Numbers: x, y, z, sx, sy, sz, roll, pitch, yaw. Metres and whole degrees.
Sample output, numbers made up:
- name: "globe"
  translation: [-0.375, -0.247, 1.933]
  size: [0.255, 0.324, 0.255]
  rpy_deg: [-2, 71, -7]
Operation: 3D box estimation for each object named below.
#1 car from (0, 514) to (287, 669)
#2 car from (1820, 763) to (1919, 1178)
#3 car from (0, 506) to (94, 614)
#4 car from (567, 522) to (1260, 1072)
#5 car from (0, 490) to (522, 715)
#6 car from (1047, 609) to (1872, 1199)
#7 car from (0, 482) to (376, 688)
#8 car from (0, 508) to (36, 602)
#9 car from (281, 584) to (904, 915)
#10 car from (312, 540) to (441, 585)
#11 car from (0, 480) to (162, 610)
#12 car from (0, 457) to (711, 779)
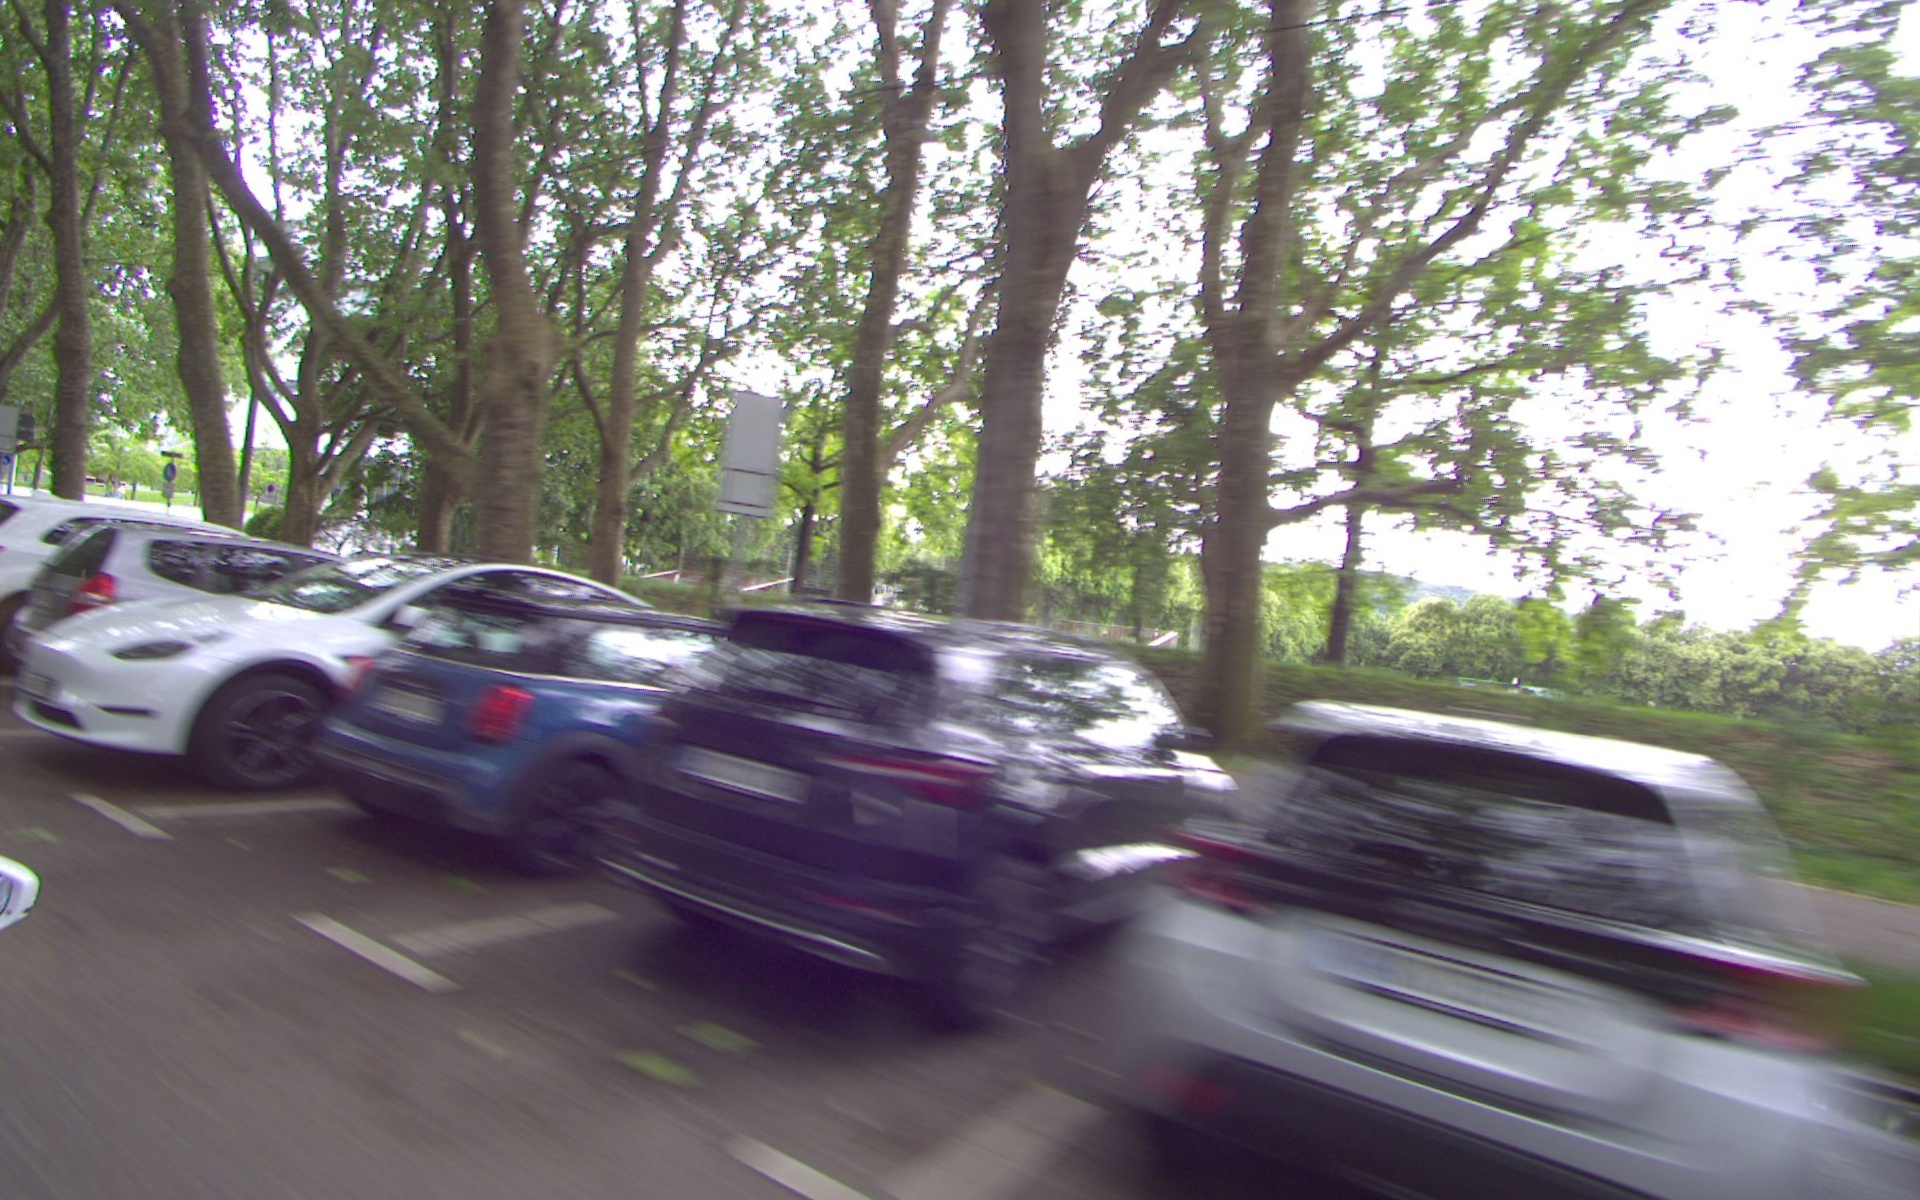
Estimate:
- name: "car"
  translation: [-10.004, -0.125, 11.313]
  size: [1.493, 1.425, 3.657]
  rpy_deg: [7, -3, 28]
- name: "car"
  translation: [3.897, 1.373, 2.512]
  size: [1.595, 1.486, 4.311]
  rpy_deg: [7, -3, 28]
- name: "car"
  translation: [-14.639, -0.763, 14.054]
  size: [1.493, 1.439, 3.435]
  rpy_deg: [7, -3, 28]
- name: "car"
  translation: [0.190, 0.789, 5.275]
  size: [1.789, 1.615, 3.787]
  rpy_deg: [7, -3, 28]
- name: "car"
  translation: [-6.236, 0.162, 9.311]
  size: [1.615, 1.536, 3.657]
  rpy_deg: [7, -3, 28]
- name: "car"
  translation: [1.905, 1.053, 4.062]
  size: [1.595, 1.486, 3.787]
  rpy_deg: [7, -3, 28]
- name: "car"
  translation: [-8.357, -0.101, 10.361]
  size: [1.493, 1.685, 3.657]
  rpy_deg: [7, -2, 28]
- name: "car"
  translation: [-16.499, -0.955, 15.160]
  size: [1.494, 1.439, 3.431]
  rpy_deg: [7, -3, 33]
- name: "car"
  translation: [-2.024, 0.878, 6.617]
  size: [1.493, 1.386, 3.657]
  rpy_deg: [7, -3, 28]
- name: "car"
  translation: [-27.765, -1.770, 48.048]
  size: [1.966, 1.419, 4.942]
  rpy_deg: [7, -2, 30]
- name: "car"
  translation: [-12.748, -0.879, 12.652]
  size: [1.951, 1.439, 3.657]
  rpy_deg: [7, -3, 28]
- name: "car"
  translation: [-4.077, 0.254, 7.521]
  size: [1.823, 1.614, 4.179]
  rpy_deg: [7, -3, 28]
